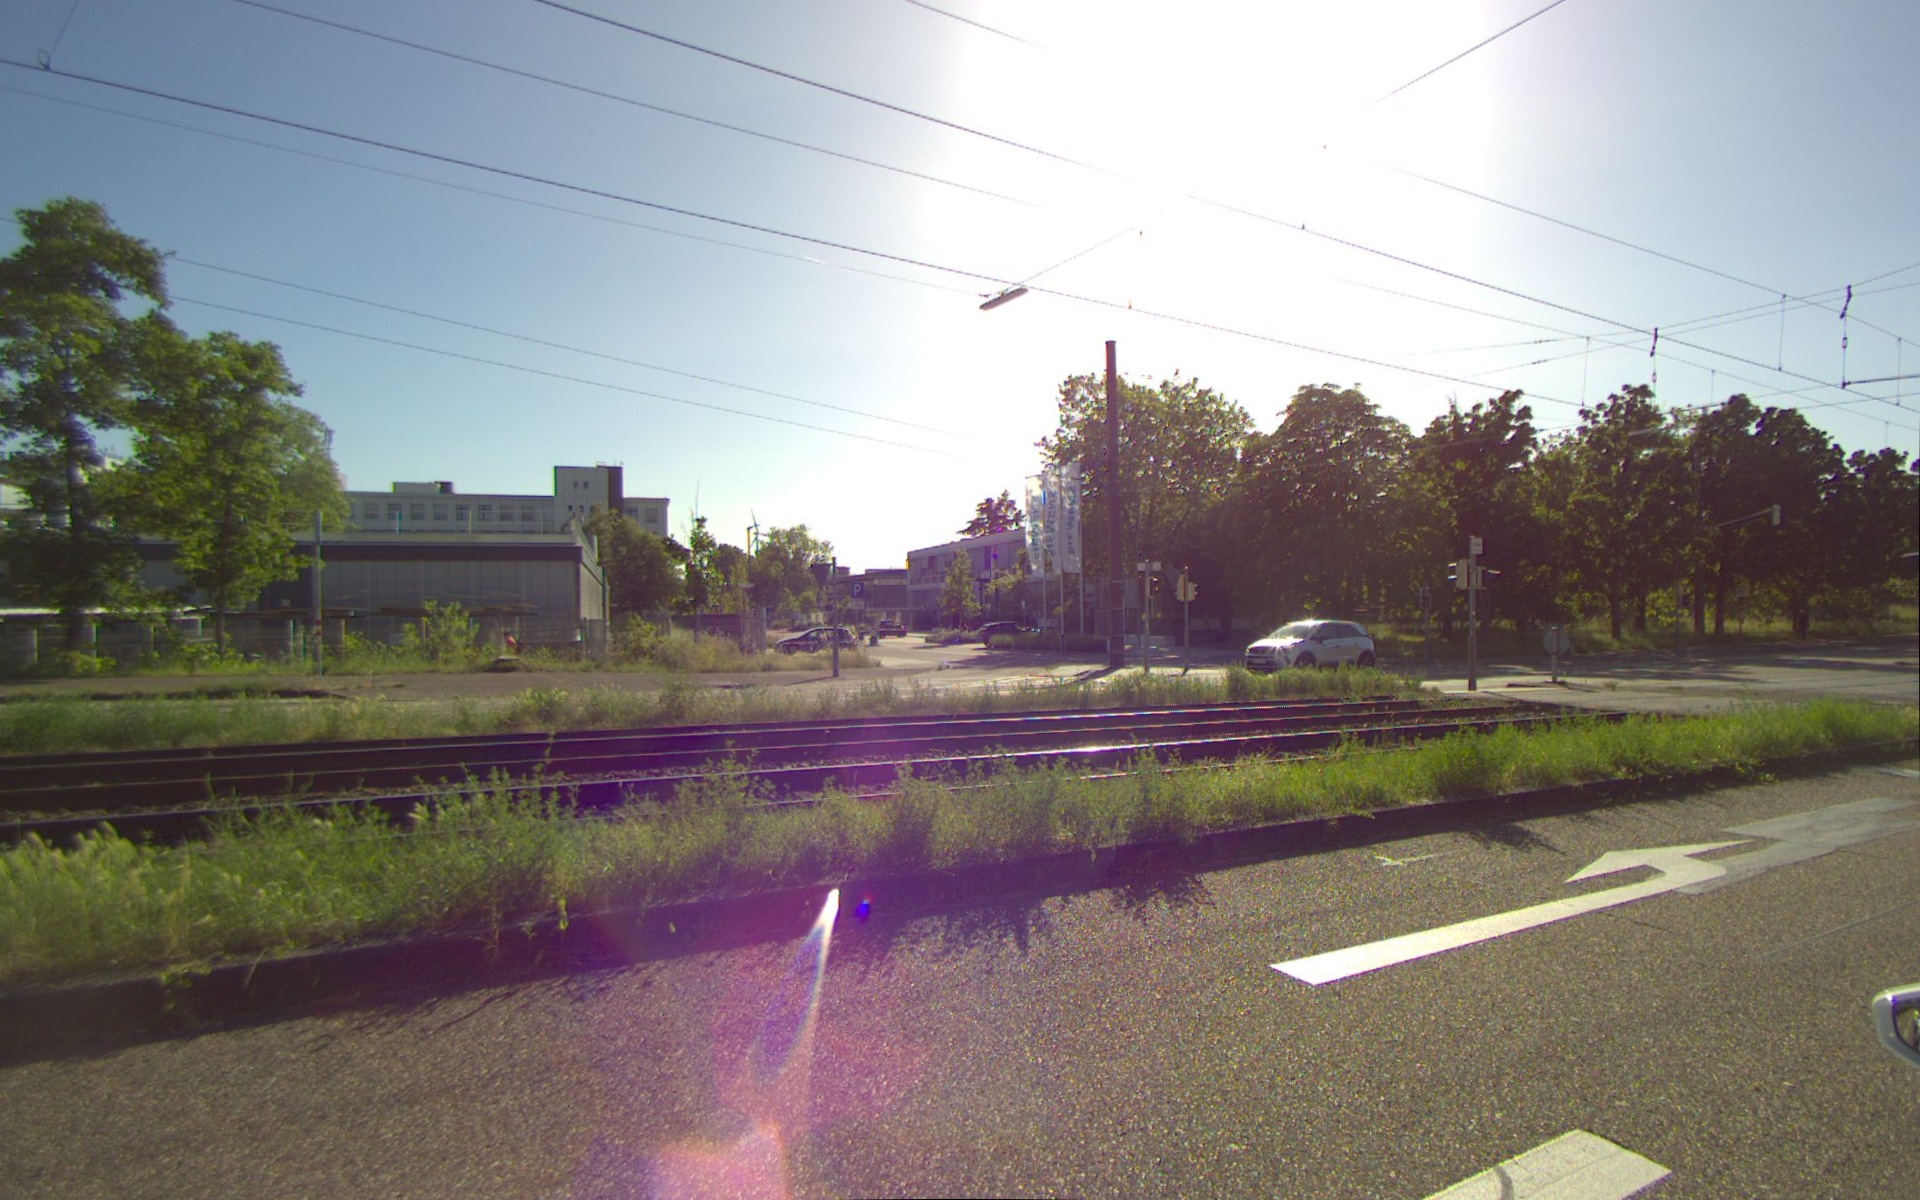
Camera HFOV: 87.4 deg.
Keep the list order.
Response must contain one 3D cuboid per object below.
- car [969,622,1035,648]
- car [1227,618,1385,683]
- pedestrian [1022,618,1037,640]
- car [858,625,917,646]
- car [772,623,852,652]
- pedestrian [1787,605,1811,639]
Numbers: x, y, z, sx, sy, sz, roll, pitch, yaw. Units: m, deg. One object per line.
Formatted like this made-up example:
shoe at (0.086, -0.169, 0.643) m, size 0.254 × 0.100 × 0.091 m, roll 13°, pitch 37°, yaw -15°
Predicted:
car at (2.594, 2.148, 61.689) m, size 3.818 × 1.508 × 1.682 m, roll 1°, pitch 0°, yaw -32°
car at (9.602, 1.359, 27.815) m, size 4.204 × 1.628 × 1.842 m, roll 1°, pitch 0°, yaw -30°
pedestrian at (4.855, 2.008, 70.140) m, size 0.810 × 1.549 × 0.762 m, roll 1°, pitch 0°, yaw -17°
car at (-5.163, 2.517, 71.765) m, size 3.893 × 1.471 × 1.688 m, roll 1°, pitch 0°, yaw -21°
car at (-7.623, 1.916, 51.678) m, size 3.806 × 1.453 × 1.687 m, roll 1°, pitch 0°, yaw -23°
pedestrian at (49.920, 1.307, 59.776) m, size 0.853 × 2.040 × 0.835 m, roll 1°, pitch 0°, yaw -32°
